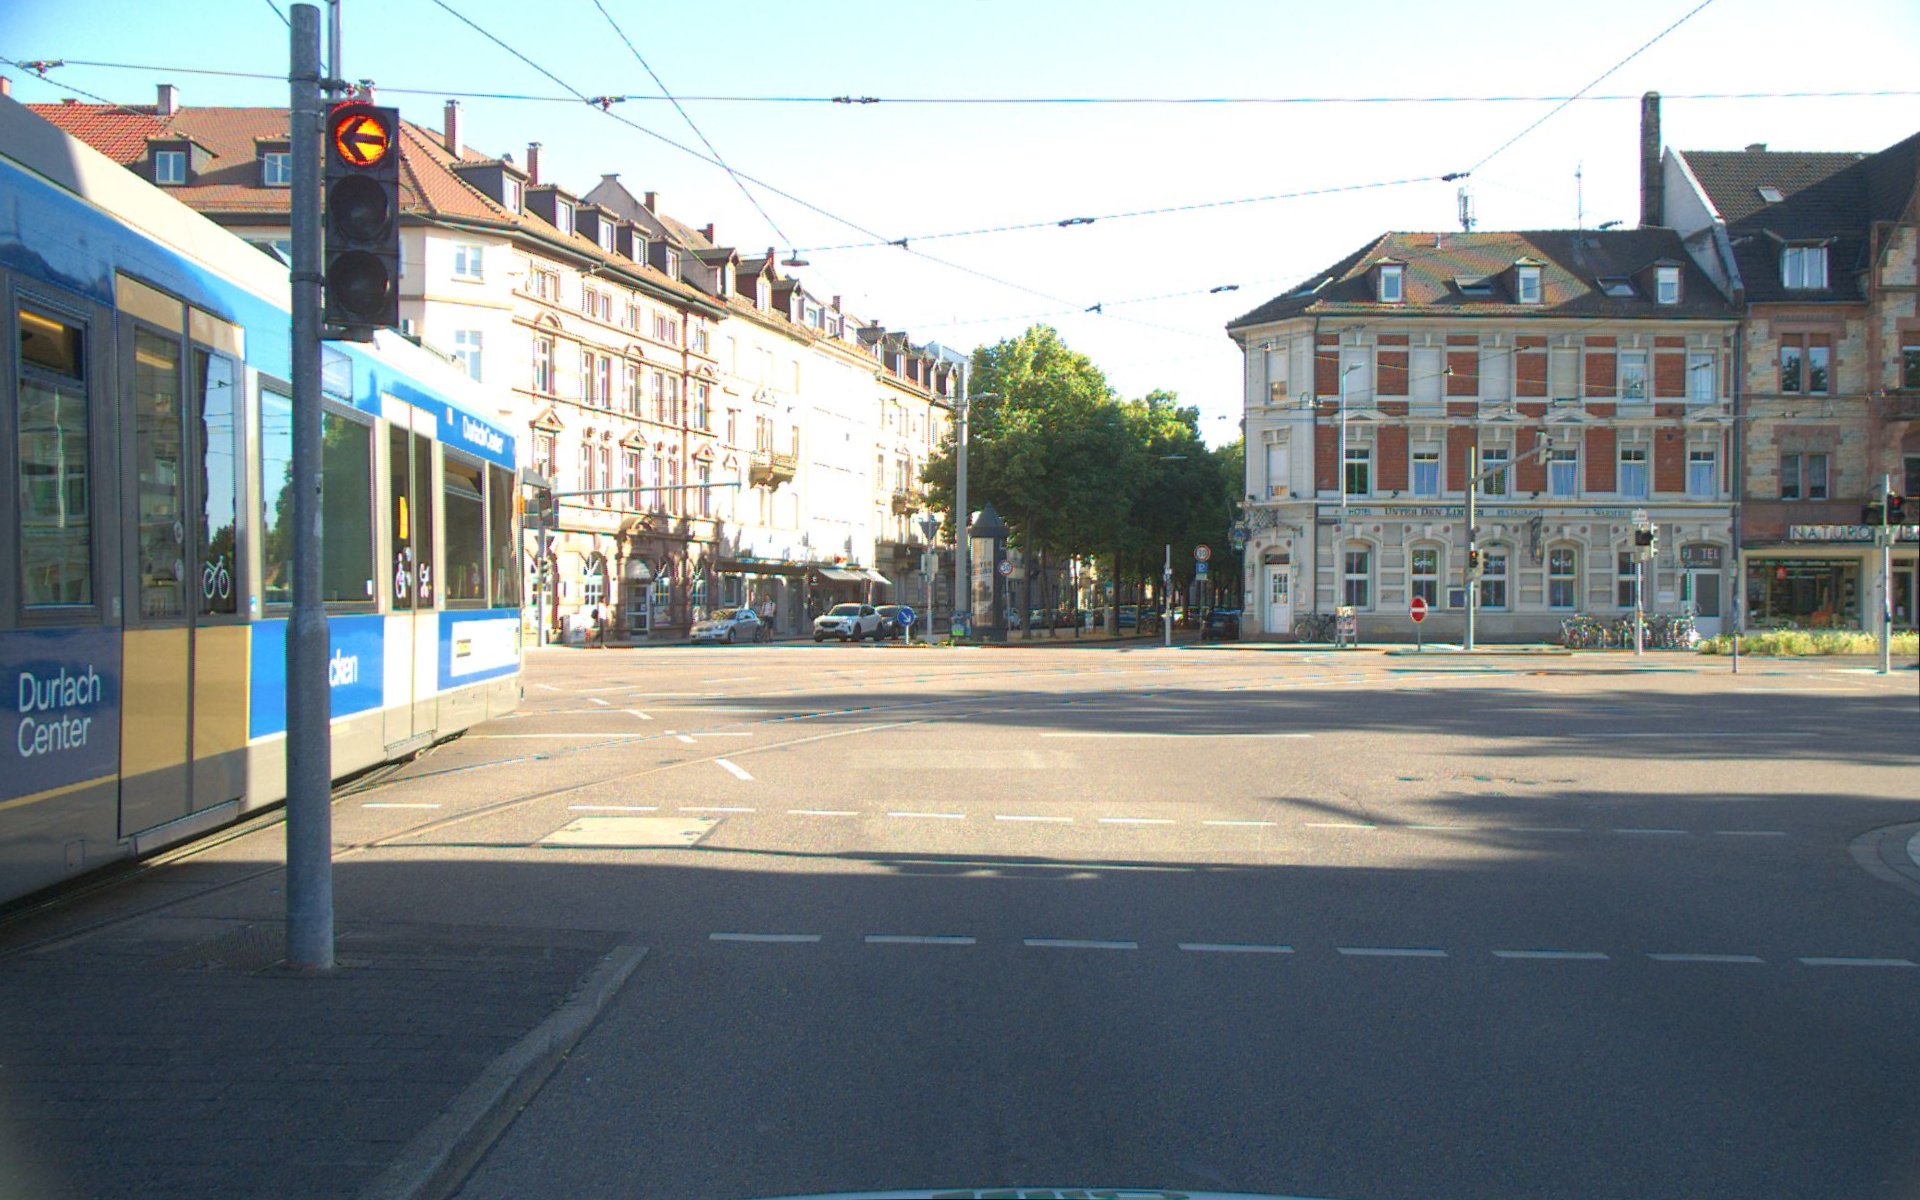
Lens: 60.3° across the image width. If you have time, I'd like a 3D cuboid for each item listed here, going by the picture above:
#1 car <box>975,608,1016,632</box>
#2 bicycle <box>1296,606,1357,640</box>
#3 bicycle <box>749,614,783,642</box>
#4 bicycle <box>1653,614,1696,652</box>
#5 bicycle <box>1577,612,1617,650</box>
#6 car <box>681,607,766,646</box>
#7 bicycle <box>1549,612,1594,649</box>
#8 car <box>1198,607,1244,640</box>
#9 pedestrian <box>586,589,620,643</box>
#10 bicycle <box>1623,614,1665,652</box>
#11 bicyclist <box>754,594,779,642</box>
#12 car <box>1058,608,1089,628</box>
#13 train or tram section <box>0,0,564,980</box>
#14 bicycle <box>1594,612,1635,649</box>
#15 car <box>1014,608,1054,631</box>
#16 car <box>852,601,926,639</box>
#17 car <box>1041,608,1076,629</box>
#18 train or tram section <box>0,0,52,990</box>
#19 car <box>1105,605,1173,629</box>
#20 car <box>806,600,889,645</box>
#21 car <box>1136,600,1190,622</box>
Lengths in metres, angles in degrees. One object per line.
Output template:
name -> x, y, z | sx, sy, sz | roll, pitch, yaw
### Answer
car -> 2.416, 1.324, 110.977 | 1.951, 1.512, 4.003 | 0, 0, 13
bicycle -> 12.754, 0.813, 57.570 | 2.045, 1.144, 0.366 | 1, -1, -5
bicycle -> -7.593, 1.086, 64.877 | 0.665, 1.085, 2.127 | 0, 0, 12
bicycle -> 23.040, 1.049, 53.385 | 0.596, 1.156, 2.136 | 0, 0, 4
bicycle -> 20.596, 0.990, 53.526 | 0.605, 1.163, 2.175 | 0, 0, 4
car -> -9.522, 1.041, 66.887 | 1.858, 1.481, 4.002 | 0, 0, 17
bicycle -> 19.825, 0.980, 53.645 | 0.789, 1.163, 2.175 | 0, 0, 4
car -> 13.074, 1.154, 82.621 | 1.951, 1.613, 4.003 | 0, 0, 13
pedestrian -> -11.986, 0.532, 55.490 | 1.026, 1.774, 0.807 | 0, 0, -6
bicycle -> 22.076, 1.046, 53.437 | 0.605, 1.163, 2.175 | 0, 0, 4
bicyclist -> -7.582, 0.699, 64.919 | 0.664, 1.852, 1.071 | 0, 0, 12
car -> 9.397, 1.457, 136.450 | 1.727, 1.576, 4.394 | 0, 0, 16
train or tram section -> -5.157, -0.483, 11.680 | 2.716, 3.561, 12.019 | 0, 0, -4
bicycle -> 21.168, 0.984, 53.496 | 0.605, 1.163, 2.175 | 0, 0, 4
car -> 5.531, 1.423, 122.725 | 1.951, 1.640, 4.393 | 0, 0, 17
car -> -3.145, 0.864, 73.775 | 1.951, 1.640, 4.393 | 0, 0, 17
car -> 7.784, 1.419, 130.549 | 1.798, 1.579, 4.393 | 0, 0, 16
train or tram section -> -4.558, -0.443, 1.626 | 2.757, 3.561, 8.460 | 0, 0, -1
car -> 12.501, 1.193, 115.559 | 4.290, 1.640, 1.998 | 0, 0, 26
car -> -4.539, 0.887, 67.240 | 1.951, 1.713, 4.393 | 0, 0, 17
car -> 16.423, 0.877, 133.859 | 3.912, 1.736, 1.996 | 0, 0, 30
